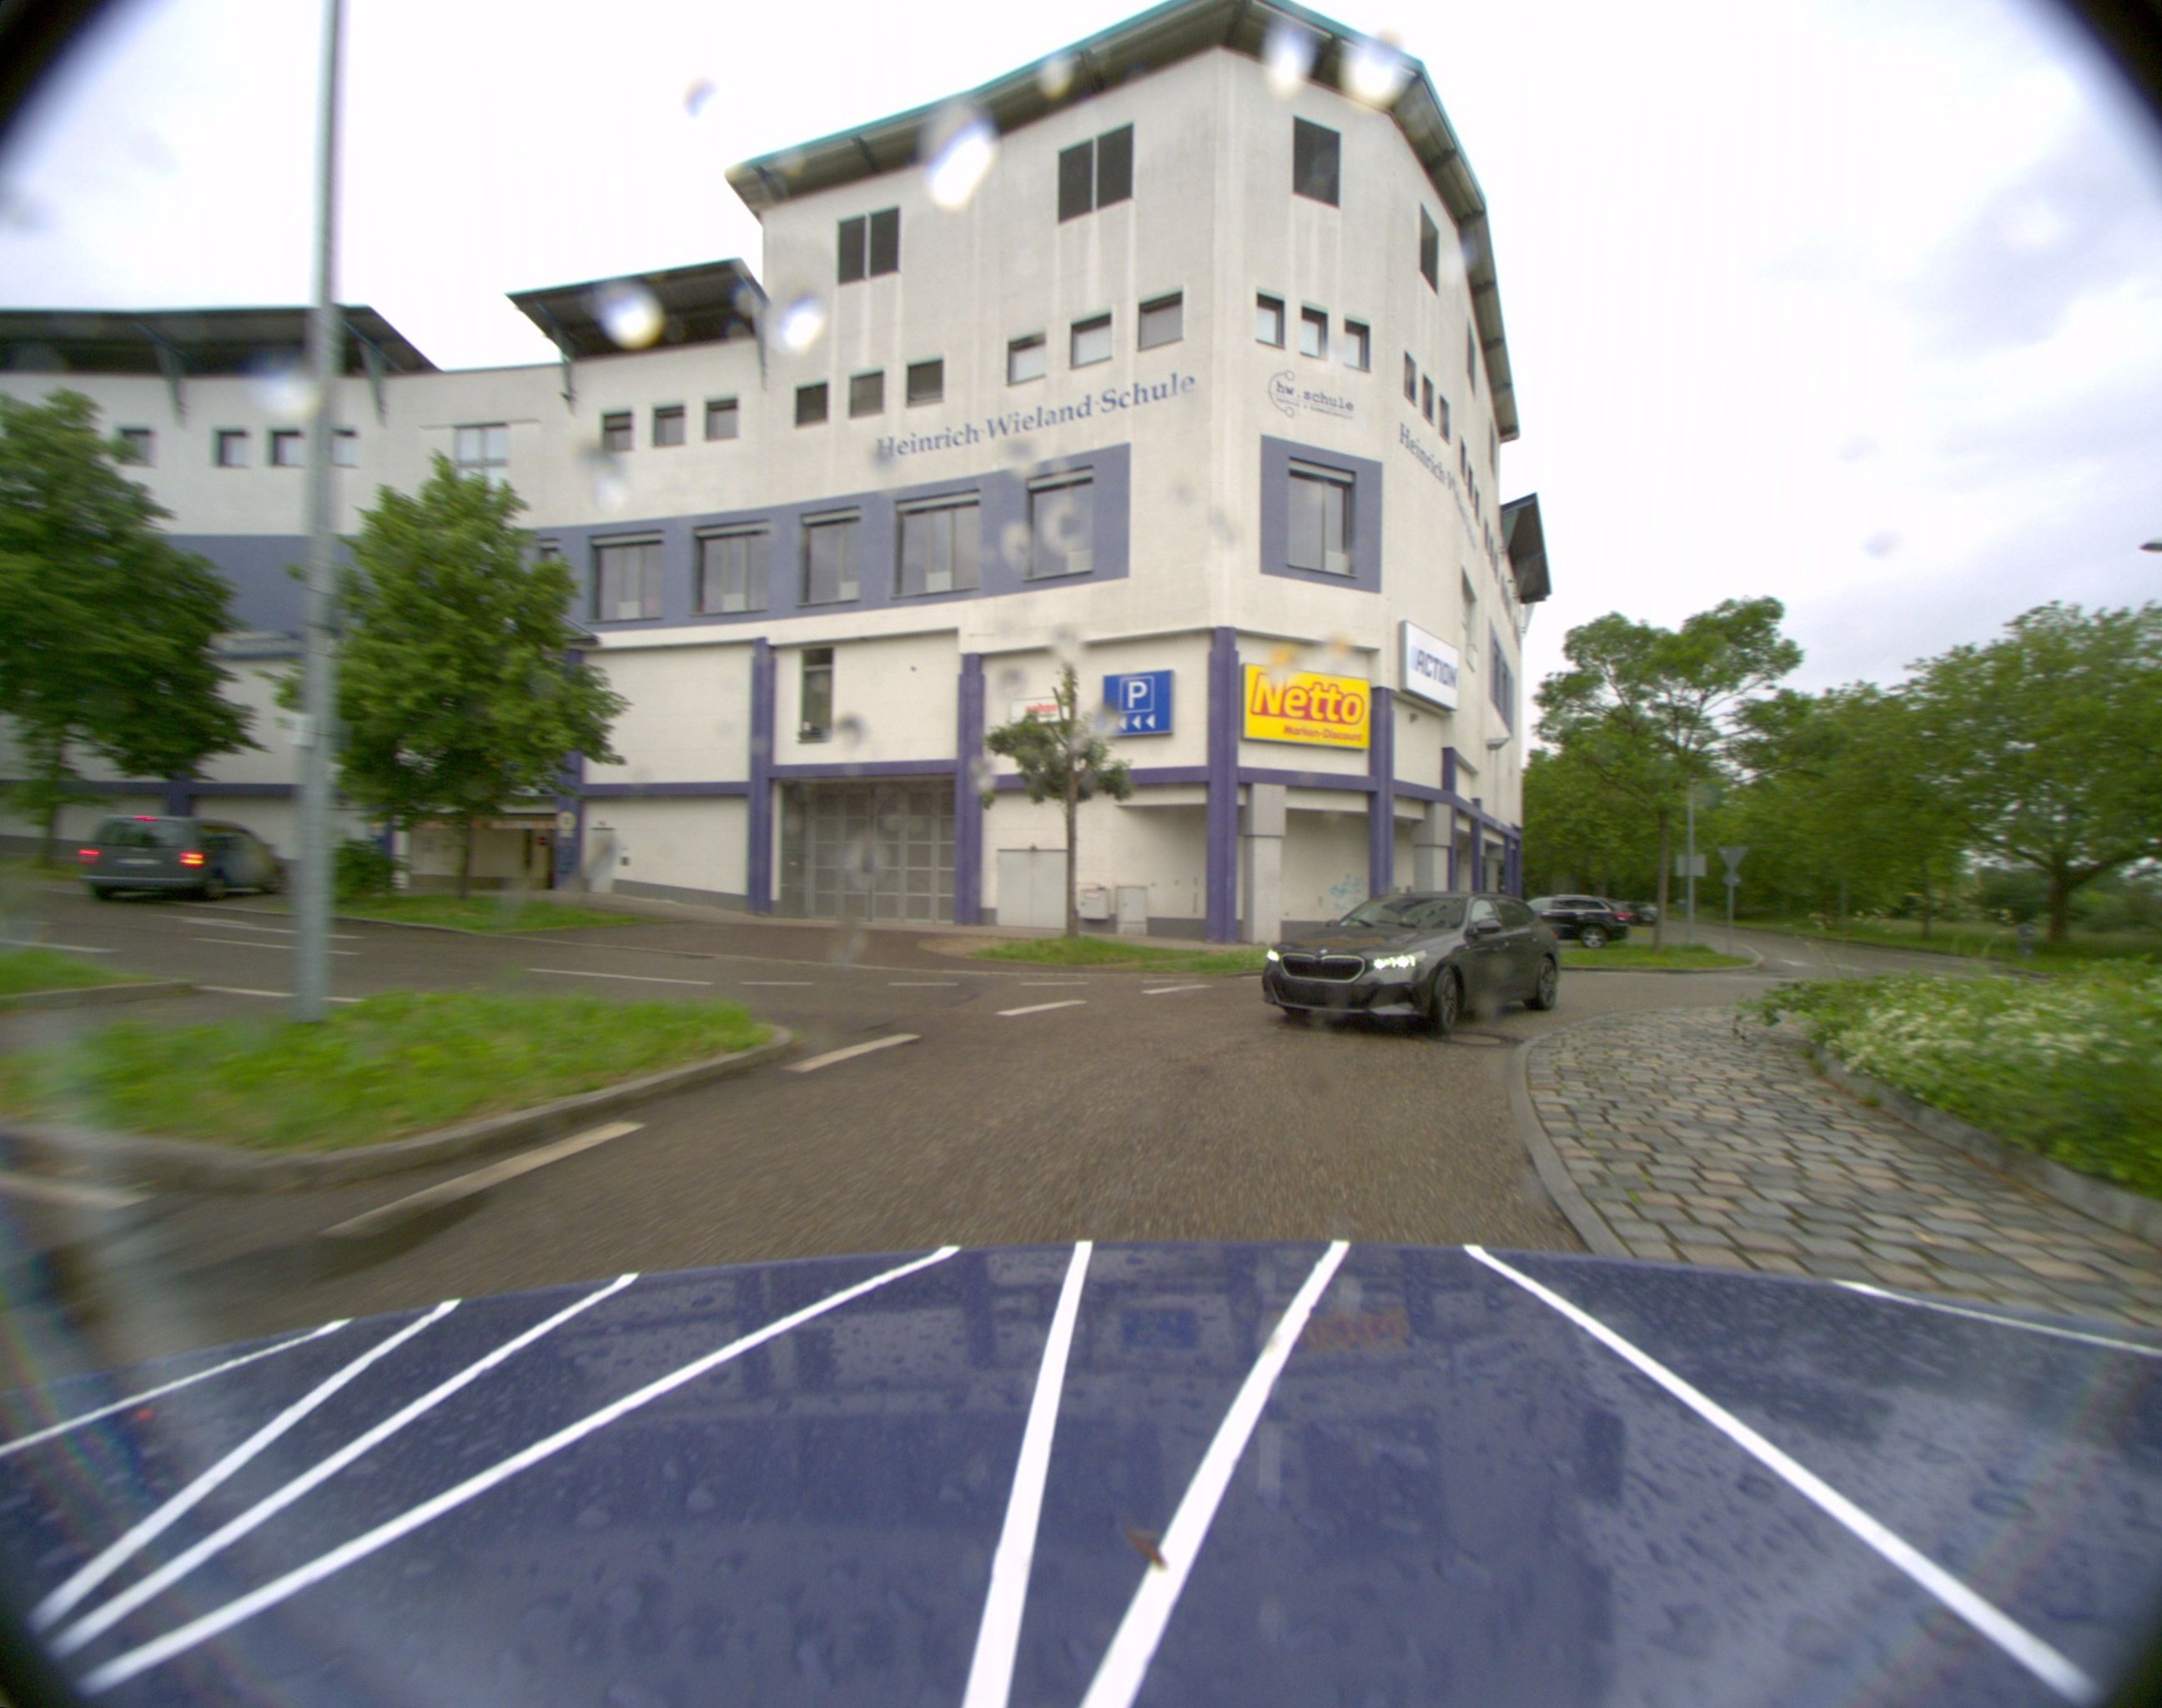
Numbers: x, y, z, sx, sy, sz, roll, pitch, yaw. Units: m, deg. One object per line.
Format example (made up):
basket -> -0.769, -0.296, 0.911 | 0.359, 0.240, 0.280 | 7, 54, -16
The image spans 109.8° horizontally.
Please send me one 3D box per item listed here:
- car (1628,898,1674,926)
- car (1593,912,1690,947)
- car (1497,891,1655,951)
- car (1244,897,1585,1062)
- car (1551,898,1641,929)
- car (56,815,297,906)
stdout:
car -> 39.024, 3.913, 52.115 | 1.802, 1.592, 4.380 | 3, 0, 28
car -> 28.833, 3.851, 39.264 | 3.939, 1.444, 1.725 | 1, 0, 34
car -> 16.799, 2.243, 25.989 | 4.379, 1.748, 1.834 | 0, -4, 33
car -> 4.259, 1.308, 9.255 | 4.913, 1.485, 1.840 | 4, -4, -40
car -> 29.779, 3.430, 44.095 | 4.108, 1.469, 1.725 | 1, 0, 29
car -> -20.062, 0.078, 17.138 | 1.927, 1.791, 3.781 | 2, 1, -22
